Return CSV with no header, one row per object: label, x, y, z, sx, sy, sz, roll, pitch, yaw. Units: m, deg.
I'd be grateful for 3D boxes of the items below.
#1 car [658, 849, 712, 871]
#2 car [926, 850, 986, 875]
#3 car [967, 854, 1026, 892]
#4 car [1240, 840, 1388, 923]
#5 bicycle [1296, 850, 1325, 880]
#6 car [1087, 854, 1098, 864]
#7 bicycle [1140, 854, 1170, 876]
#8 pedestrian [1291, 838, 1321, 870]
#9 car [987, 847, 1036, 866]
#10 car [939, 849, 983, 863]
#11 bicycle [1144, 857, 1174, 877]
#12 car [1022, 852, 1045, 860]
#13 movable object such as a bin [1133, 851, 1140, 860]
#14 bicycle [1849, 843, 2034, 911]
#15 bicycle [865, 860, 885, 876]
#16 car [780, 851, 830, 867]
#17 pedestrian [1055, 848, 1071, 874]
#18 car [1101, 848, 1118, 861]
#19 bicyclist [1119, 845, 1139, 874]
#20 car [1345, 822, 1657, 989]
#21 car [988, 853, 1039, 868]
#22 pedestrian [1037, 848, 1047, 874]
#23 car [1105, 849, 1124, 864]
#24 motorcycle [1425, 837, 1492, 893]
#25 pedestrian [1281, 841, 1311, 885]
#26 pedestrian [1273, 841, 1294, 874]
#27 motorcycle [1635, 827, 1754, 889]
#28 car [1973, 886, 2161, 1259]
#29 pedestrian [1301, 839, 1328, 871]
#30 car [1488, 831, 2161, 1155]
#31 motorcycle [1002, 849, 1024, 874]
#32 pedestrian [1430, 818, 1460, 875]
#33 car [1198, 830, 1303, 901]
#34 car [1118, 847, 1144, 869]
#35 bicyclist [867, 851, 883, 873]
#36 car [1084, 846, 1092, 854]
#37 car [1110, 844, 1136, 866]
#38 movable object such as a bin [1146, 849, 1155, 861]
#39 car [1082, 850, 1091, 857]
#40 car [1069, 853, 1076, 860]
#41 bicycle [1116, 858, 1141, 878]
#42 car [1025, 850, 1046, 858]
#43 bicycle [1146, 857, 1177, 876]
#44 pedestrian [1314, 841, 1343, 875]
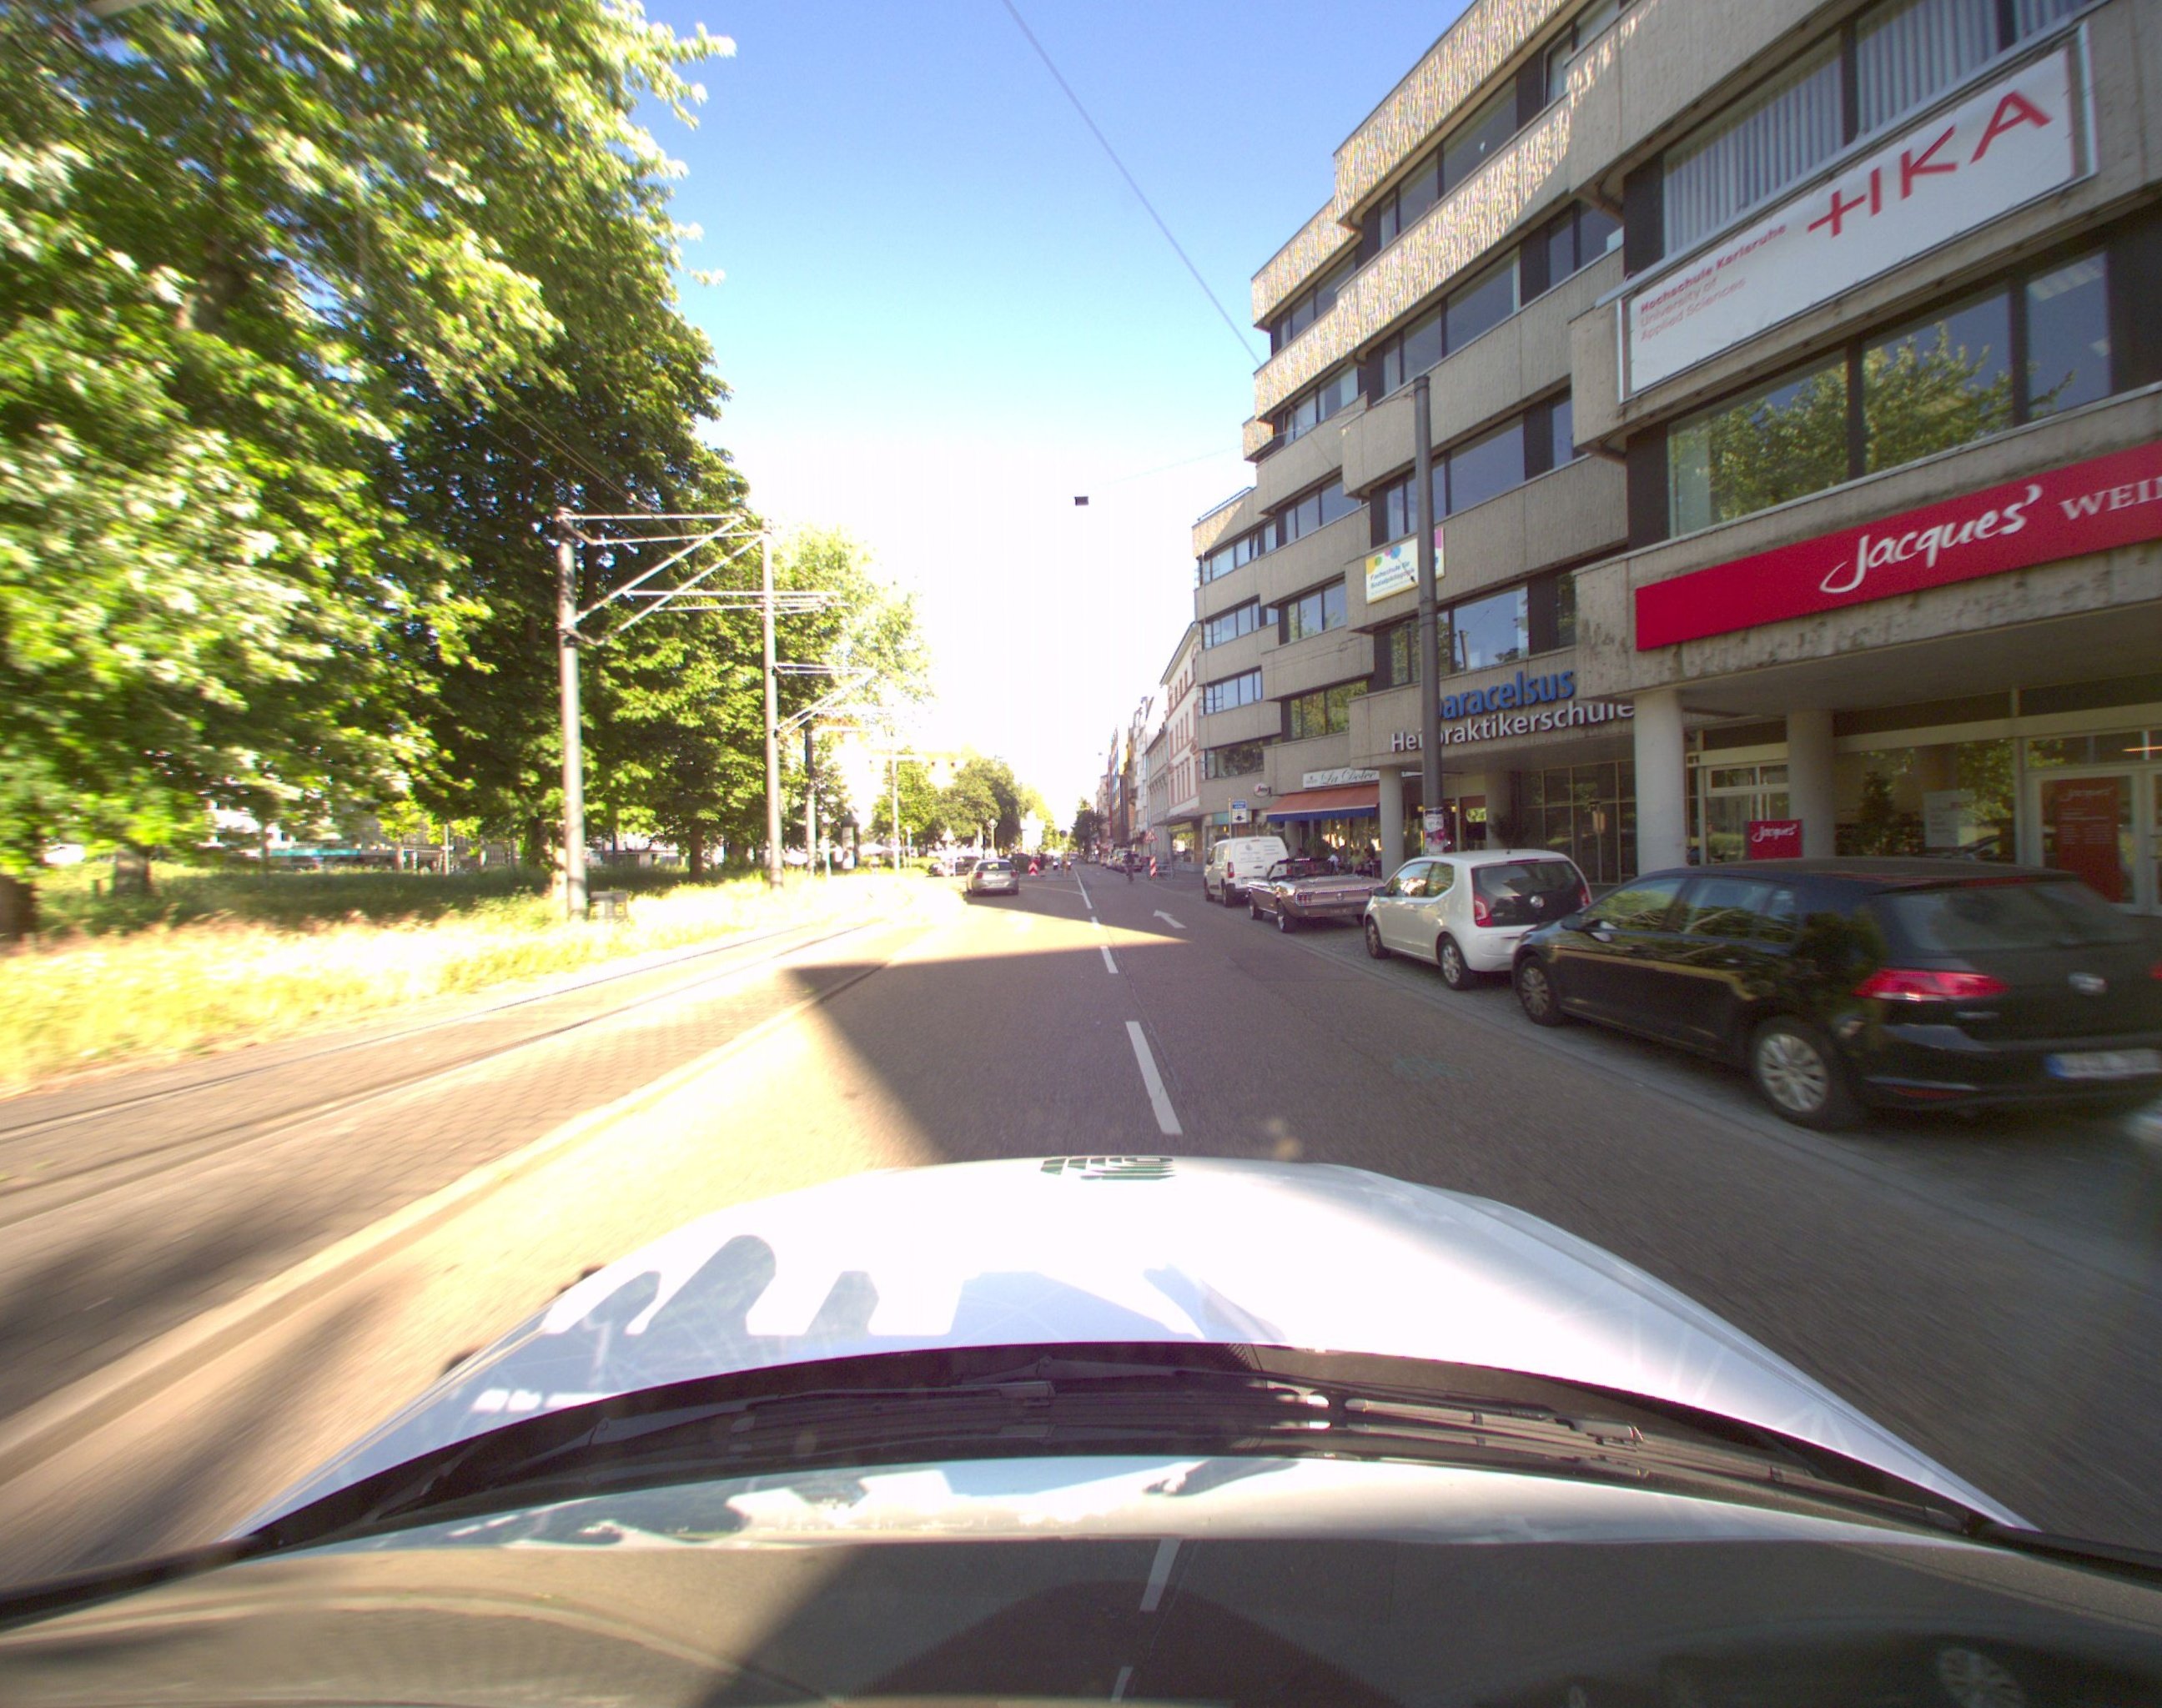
car,-44.284,0.680,91.184,5.361,2.314,1.984,0,-1,-25
car,-8.917,0.596,58.172,3.888,1.682,1.792,-1,-1,-37
car,-3.406,0.739,32.316,1.994,1.423,4.181,0,-1,-11
car,4.540,0.517,16.639,1.768,1.454,4.731,0,-1,1
bicycle,8.330,0.400,29.602,0.561,1.034,1.644,0,-1,0
car,2.136,0.922,148.643,1.986,1.618,4.011,0,-1,1
bicycle,4.301,0.630,47.065,1.608,1.243,0.662,0,-1,19
pedestrian,9.481,0.016,34.337,0.842,1.292,0.827,-3,-1,-13
car,-6.195,0.187,72.649,3.997,1.668,1.988,0,0,-18
car,-15.534,0.282,105.461,5.293,1.800,2.144,0,-1,-28
bicycle,4.337,0.719,45.246,1.667,1.062,0.345,0,-1,14
car,-8.248,0.356,141.168,3.975,1.508,1.999,0,-1,-1
movable object such as a bin,6.584,0.155,96.636,0.874,1.123,0.828,0,-1,-1
bicycle,13.126,0.321,12.507,1.834,0.981,0.686,0,0,33
bicycle,-14.762,0.987,58.230,0.814,1.069,2.559,1,-1,-28
car,-34.421,0.664,101.579,5.607,2.014,1.801,0,-1,-28
pedestrian,-1.162,0.440,53.401,0.674,1.699,0.795,1,-2,-44
car,3.746,0.057,107.509,1.894,1.675,4.822,0,-1,-1
bicyclist,2.436,0.278,41.369,0.780,1.453,1.100,0,-1,17
car,4.895,0.546,10.192,1.846,1.689,3.864,0,-1,-1
car,-6.944,0.649,83.792,4.858,1.488,1.750,0,-1,-25
pedestrian,-2.569,0.477,53.911,0.634,1.672,0.692,0,-1,-1
car,3.484,0.288,86.330,1.714,1.515,3.580,-3,-1,-2
motorcycle,8.469,0.253,18.362,0.759,1.155,2.052,-4,-1,9
pedestrian,8.608,0.358,32.601,0.846,1.710,0.713,-3,0,-29
pedestrian,7.834,0.146,31.562,0.627,1.236,0.625,-3,-1,2
motorcycle,12.338,0.064,16.475,0.512,1.168,2.092,0,1,-13
car,4.880,0.783,1.311,1.845,1.344,4.598,0,-1,0
pedestrian,10.197,0.037,35.606,0.847,1.402,0.746,0,0,-31
car,4.799,0.681,5.927,1.665,1.518,4.200,0,-1,1
motorcycle,-3.900,0.429,46.651,0.749,1.374,1.746,1,-1,-24
pedestrian,11.726,-0.222,26.230,0.696,1.816,0.721,-1,-1,38
car,4.652,0.316,22.964,1.988,1.813,4.306,0,-1,-1
car,4.036,0.380,66.387,1.740,1.739,4.957,0,-1,-1
bicyclist,-14.716,0.584,58.160,0.934,1.507,0.818,1,-1,-28
car,1.758,-0.950,204.860,1.988,2.013,3.998,-1,0,-2
car,3.932,0.060,76.789,1.989,2.004,5.112,-1,0,-2
movable object such as a bin,6.725,0.106,79.156,0.792,1.076,0.660,-4,-1,1
car,1.200,-0.168,181.028,1.988,1.453,3.998,-1,0,-2
car,-2.146,0.665,208.310,1.864,1.556,3.999,0,-1,0
bicycle,2.422,0.706,41.309,0.647,0.958,2.710,0,-1,17
car,-8.752,0.079,156.965,3.975,1.508,1.894,0,-1,-1
bicycle,4.514,0.699,45.599,1.691,1.004,0.429,0,-1,14
pedestrian,10.510,0.149,34.657,0.846,1.402,0.824,-1,1,-26
